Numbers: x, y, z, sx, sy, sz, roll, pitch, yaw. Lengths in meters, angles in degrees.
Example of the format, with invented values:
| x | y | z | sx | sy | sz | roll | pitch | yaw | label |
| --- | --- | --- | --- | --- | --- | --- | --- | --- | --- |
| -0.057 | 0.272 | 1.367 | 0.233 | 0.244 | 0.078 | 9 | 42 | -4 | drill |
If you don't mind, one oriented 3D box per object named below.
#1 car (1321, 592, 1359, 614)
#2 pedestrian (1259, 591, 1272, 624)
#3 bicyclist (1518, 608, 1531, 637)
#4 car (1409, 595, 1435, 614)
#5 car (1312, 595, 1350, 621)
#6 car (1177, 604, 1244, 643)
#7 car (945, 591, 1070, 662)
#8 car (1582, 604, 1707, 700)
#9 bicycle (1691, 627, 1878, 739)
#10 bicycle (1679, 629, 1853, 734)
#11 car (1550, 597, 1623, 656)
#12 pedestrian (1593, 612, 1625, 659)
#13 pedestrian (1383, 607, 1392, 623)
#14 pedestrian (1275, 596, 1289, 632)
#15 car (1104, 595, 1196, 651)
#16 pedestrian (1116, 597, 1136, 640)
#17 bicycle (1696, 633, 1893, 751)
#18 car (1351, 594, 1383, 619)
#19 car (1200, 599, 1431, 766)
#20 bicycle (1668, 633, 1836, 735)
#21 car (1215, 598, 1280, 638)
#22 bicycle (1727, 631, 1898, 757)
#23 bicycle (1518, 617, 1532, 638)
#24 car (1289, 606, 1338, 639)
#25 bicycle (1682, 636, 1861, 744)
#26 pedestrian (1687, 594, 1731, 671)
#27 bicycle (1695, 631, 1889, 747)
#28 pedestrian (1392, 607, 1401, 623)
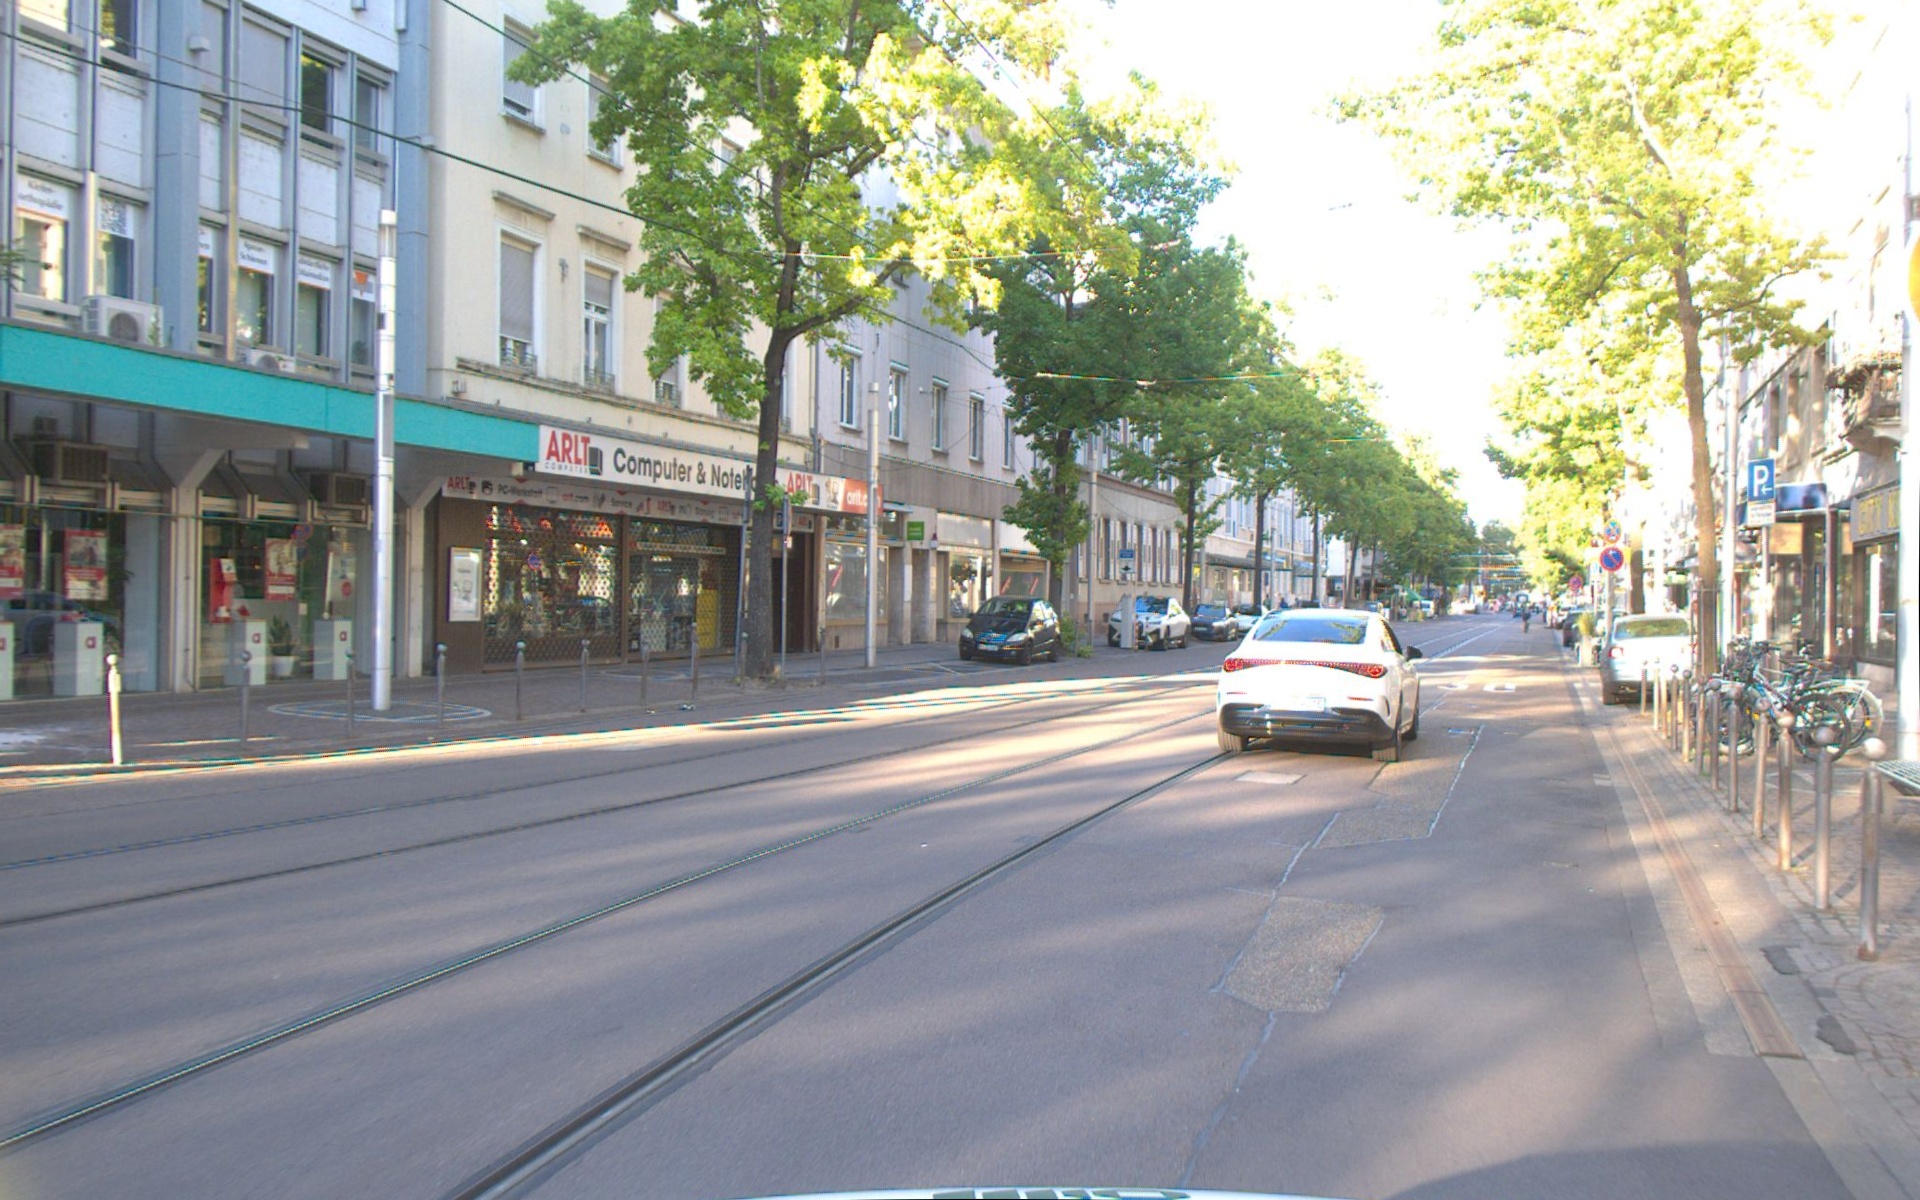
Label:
| x | y | z | sx | sy | sz | roll | pitch | yaw | label |
| --- | --- | --- | --- | --- | --- | --- | --- | --- | --- |
| 24.733 | 0.201 | 107.573 | 1.952 | 1.315 | 4.001 | 1 | 0 | 19 | car |
| 17.541 | 0.429 | 94.991 | 0.692 | 1.838 | 0.676 | 0 | 0 | 15 | pedestrian |
| 33.052 | 1.313 | 96.828 | 0.709 | 1.732 | 0.811 | 1 | -1 | 20 | bicyclist |
| 50.204 | 0.482 | 179.655 | 1.955 | 2.049 | 3.995 | 0 | 0 | 28 | car |
| 22.424 | 0.491 | 99.948 | 1.654 | 1.525 | 4.234 | 1 | 0 | 21 | car |
| 10.035 | 0.917 | 65.950 | 1.920 | 1.437 | 4.849 | 1 | 0 | 17 | car |
| 1.258 | 0.646 | 41.557 | 1.921 | 1.668 | 4.000 | 1 | 0 | 21 | car |
| 11.653 | 0.867 | 28.380 | 1.739 | 1.465 | 4.423 | -2 | -2 | 20 | car |
| 9.283 | 0.916 | 18.686 | 1.828 | 1.175 | 0.562 | 1 | -1 | 22 | bicycle |
| 9.677 | 0.963 | 19.912 | 1.828 | 1.175 | 0.562 | 1 | -1 | 22 | bicycle |
| 19.819 | 0.833 | 52.456 | 1.766 | 1.481 | 3.656 | 11 | 3 | 18 | car |
| 18.204 | 0.992 | 46.393 | 0.801 | 1.287 | 0.586 | 0 | 0 | 25 | pedestrian |
| 38.511 | 1.341 | 148.919 | 0.560 | 1.489 | 0.647 | 0 | 0 | 39 | pedestrian |
| 18.401 | 0.774 | 94.471 | 0.692 | 2.039 | 0.676 | 0 | 0 | 16 | pedestrian |
| 6.392 | 0.761 | 55.222 | 1.922 | 1.668 | 4.813 | 4 | 1 | 20 | car |
| 6.650 | 0.729 | 66.388 | 0.660 | 1.709 | 0.648 | 0 | 0 | 19 | pedestrian |
| 8.817 | 0.955 | 17.537 | 1.828 | 1.175 | 0.347 | 1 | -1 | 22 | bicycle |
| 29.691 | 0.486 | 120.579 | 1.523 | 1.827 | 3.163 | 0 | 0 | 28 | car |
| 3.887 | 0.780 | 17.568 | 1.829 | 1.494 | 4.043 | 2 | 0 | 20 | car |
| 9.787 | 1.021 | 20.514 | 1.828 | 1.175 | 0.562 | 1 | -1 | 22 | bicycle |
| 12.814 | 0.806 | 73.406 | 1.907 | 1.668 | 4.909 | 1 | 0 | 21 | car |
| 8.533 | 0.917 | 16.629 | 0.453 | 1.175 | 1.672 | 1 | -1 | -19 | bicycle |
| 33.102 | 1.602 | 96.954 | 0.725 | 1.209 | 2.160 | 0 | -1 | 20 | bicycle |
| 19.425 | 1.218 | 90.721 | 1.921 | 1.721 | 5.013 | 1 | 0 | 21 | car |
| 9.454 | 1.033 | 19.338 | 1.828 | 1.175 | 0.562 | 1 | -1 | 22 | bicycle |
| 16.289 | 0.701 | 35.988 | 0.786 | 1.672 | 0.756 | -1 | -1 | 20 | pedestrian |
| 9.030 | 0.944 | 18.019 | 1.828 | 1.175 | 0.562 | 1 | -1 | 22 | bicycle |
| 39.635 | 1.361 | 150.088 | 0.507 | 1.504 | 0.649 | -1 | -2 | -7 | pedestrian |
